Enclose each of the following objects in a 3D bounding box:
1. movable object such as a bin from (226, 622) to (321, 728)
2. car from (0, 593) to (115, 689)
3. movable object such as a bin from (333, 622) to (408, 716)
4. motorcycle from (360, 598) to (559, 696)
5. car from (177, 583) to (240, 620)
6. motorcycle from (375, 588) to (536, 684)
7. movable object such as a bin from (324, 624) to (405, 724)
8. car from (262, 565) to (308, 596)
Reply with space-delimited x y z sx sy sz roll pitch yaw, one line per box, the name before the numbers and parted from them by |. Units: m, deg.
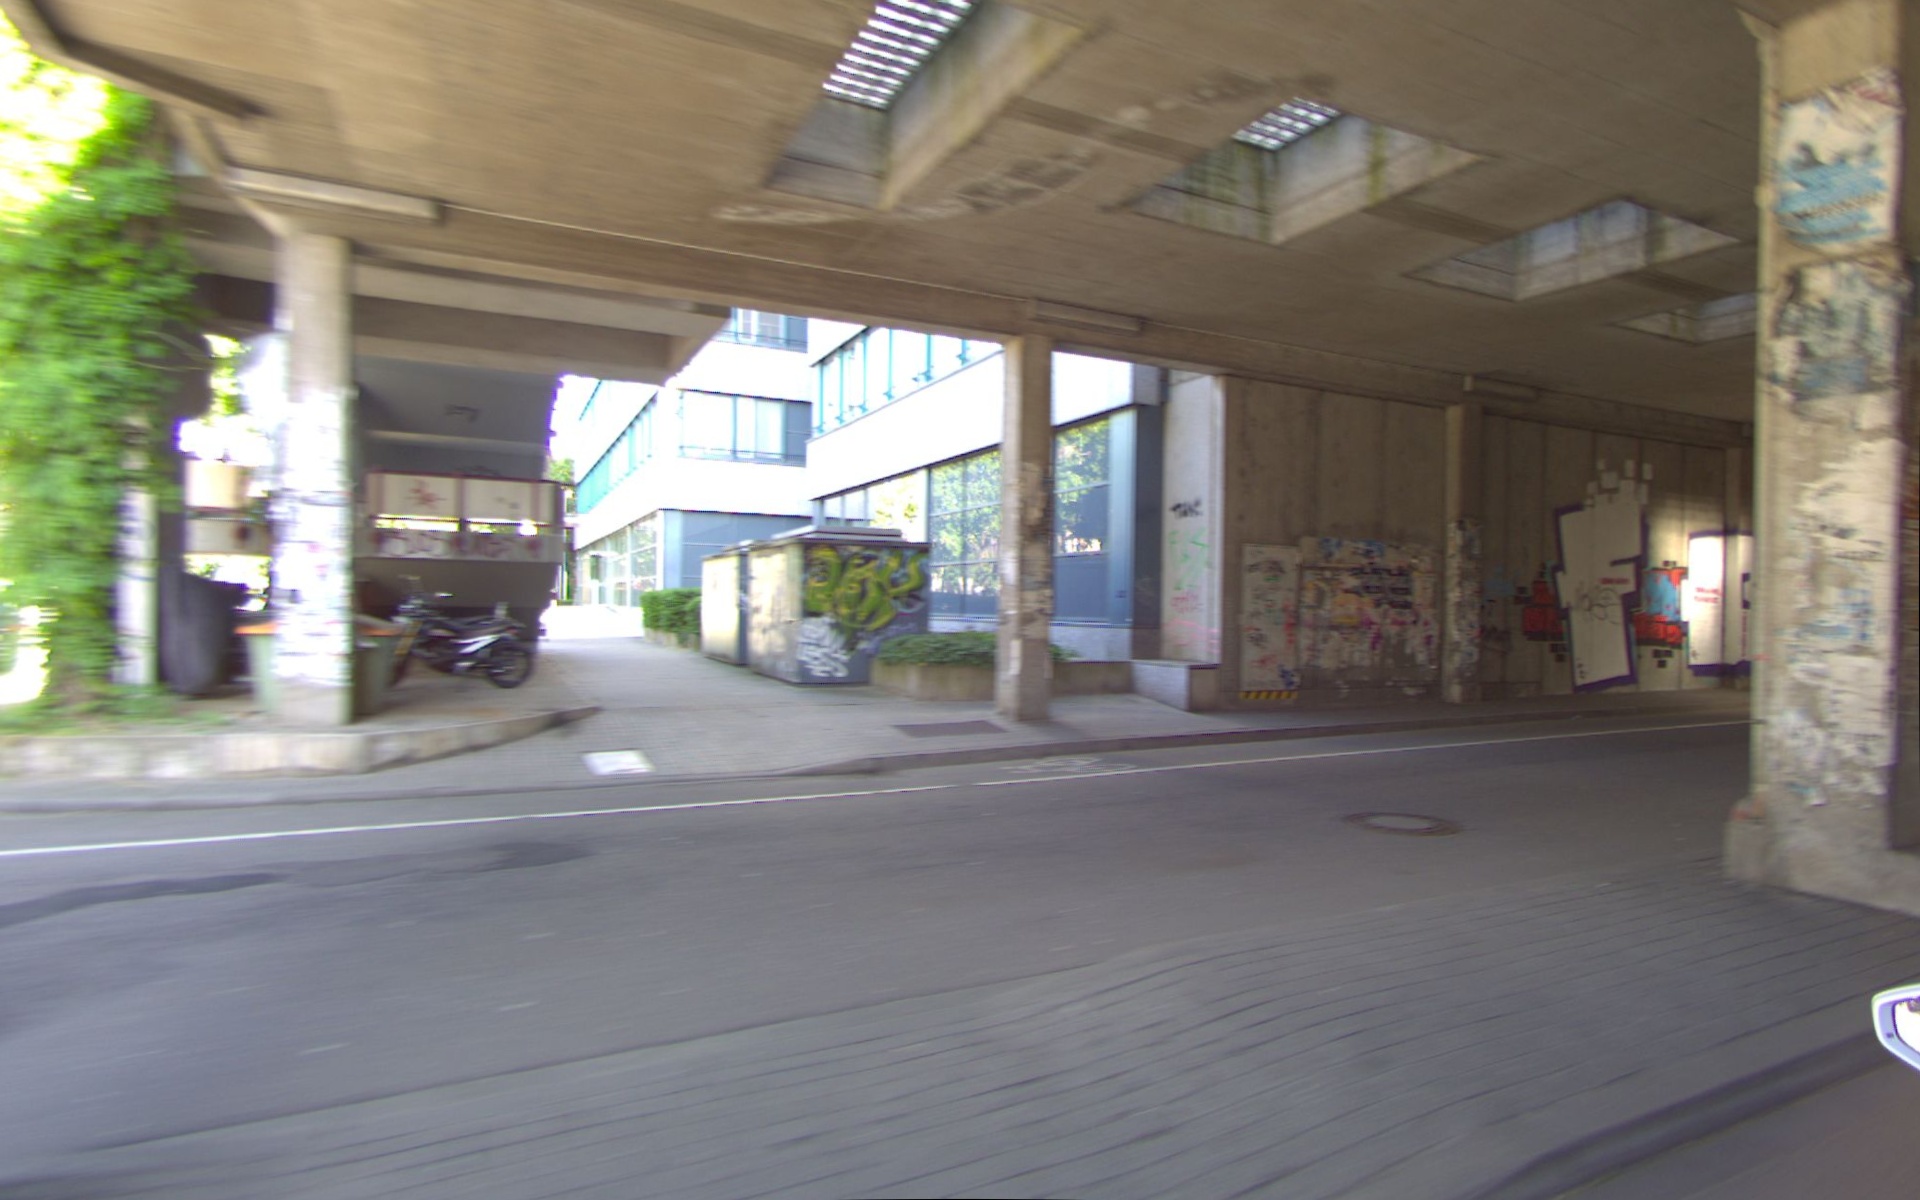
movable object such as a bin | -6.340 0.672 9.305 0.633 0.917 0.714 1 0 -28
car | -16.810 0.657 17.922 1.715 1.550 3.973 2 -1 -26
movable object such as a bin | -6.152 0.702 10.517 0.633 0.917 0.782 1 0 -28
motorcycle | -6.106 0.568 12.332 2.125 1.125 0.523 1 0 -30
car | -41.491 0.098 55.561 2.045 1.934 4.493 1 0 -27
motorcycle | -7.068 0.493 14.148 1.968 1.281 0.675 1 0 -29
movable object such as a bin | -5.810 0.699 9.828 0.633 0.917 0.714 1 0 -28
car | -46.657 -1.306 69.544 1.973 2.040 4.268 1 0 -25
